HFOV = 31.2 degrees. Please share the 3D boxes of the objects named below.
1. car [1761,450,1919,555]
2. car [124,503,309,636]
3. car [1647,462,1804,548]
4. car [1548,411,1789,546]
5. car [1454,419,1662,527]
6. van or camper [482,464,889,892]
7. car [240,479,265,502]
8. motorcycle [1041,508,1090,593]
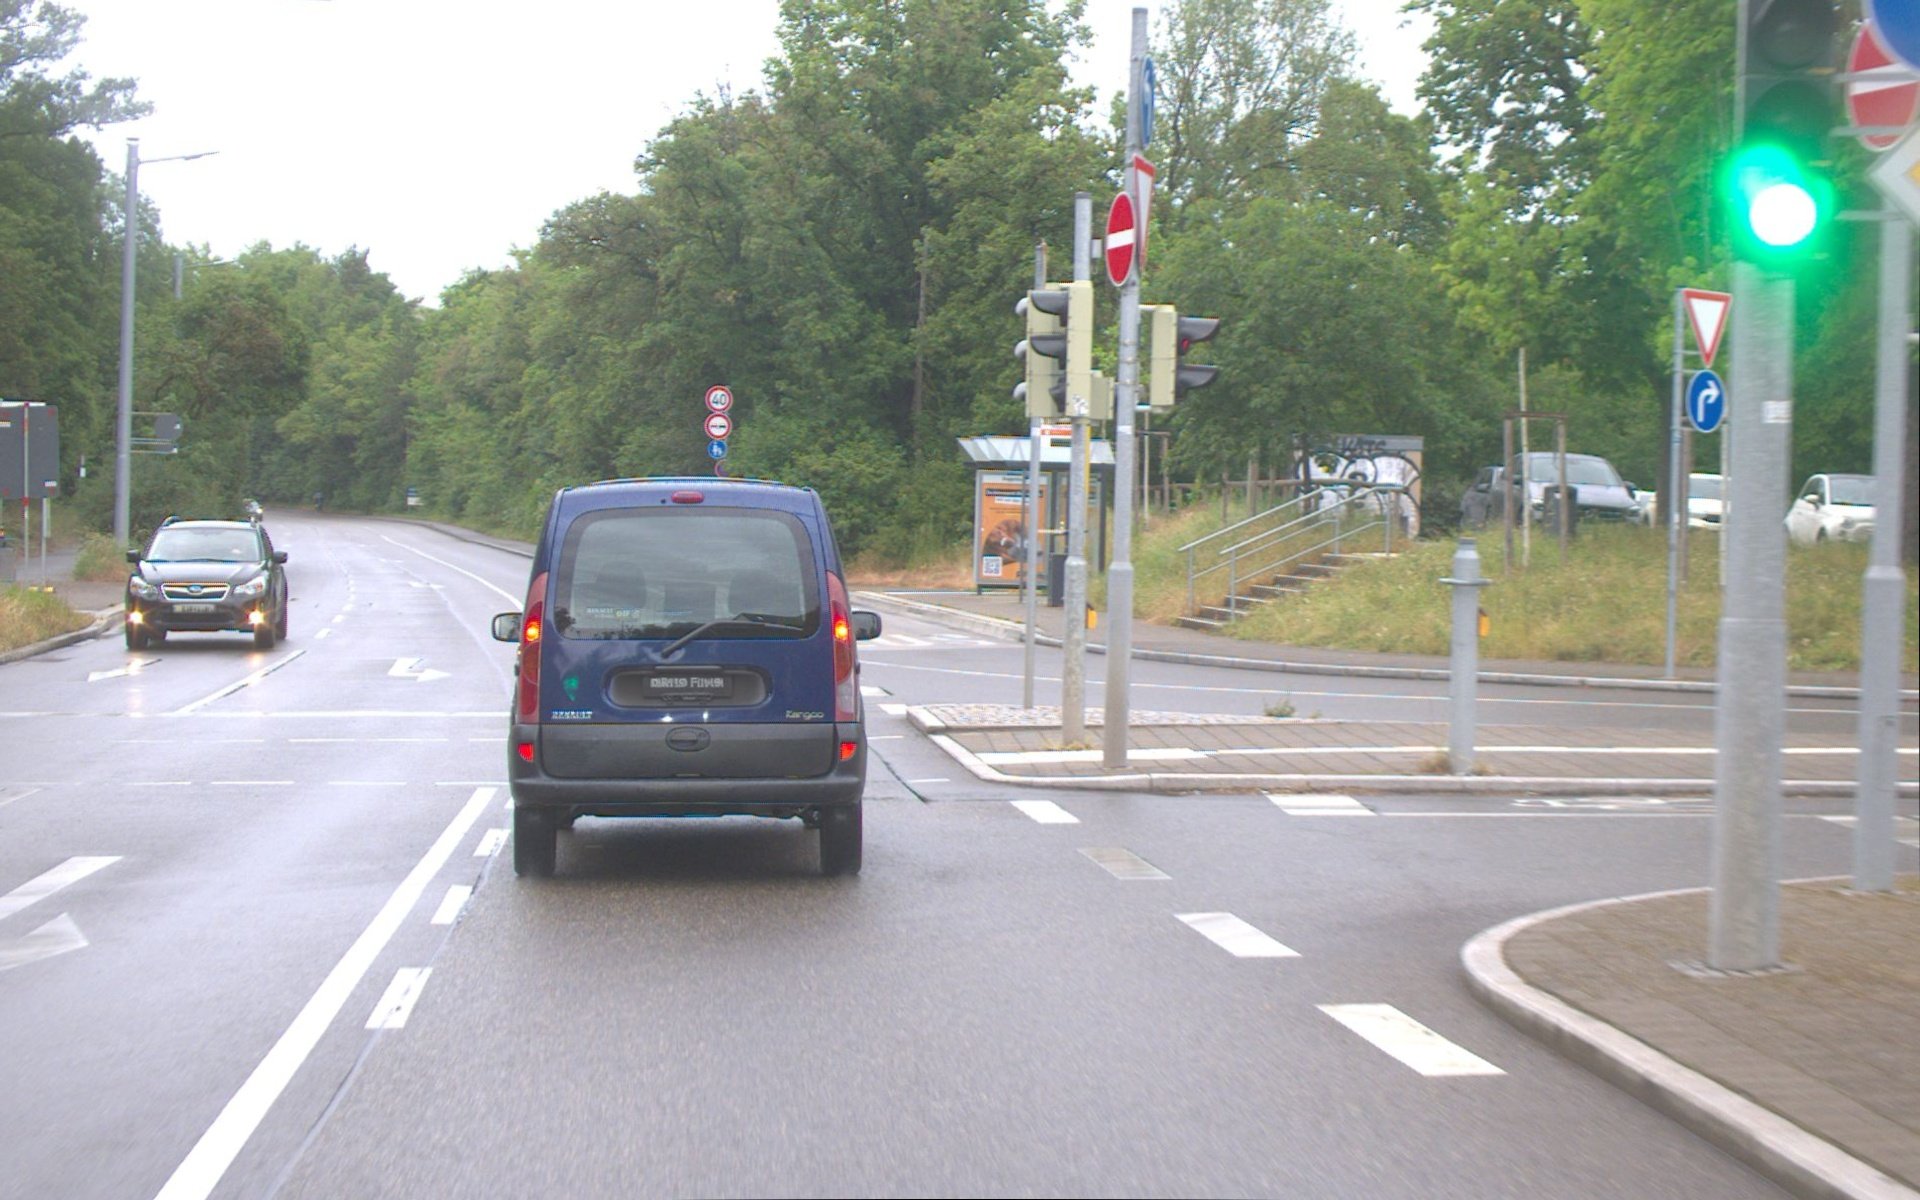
[{"bbox_3d":[14.184,-1.513,54.394,1.885,1.475,4.069,3,1,-2],"label":"car"},{"bbox_3d":[-9.322,-0.429,43.389,1.789,1.576,4.563,0,1,-6],"label":"car"},{"bbox_3d":[14.421,-1.768,64.997,1.885,1.475,4.069,3,1,-2],"label":"car"},{"bbox_3d":[9.799,-1.689,47.856,1.993,1.656,4.001,4,2,-7],"label":"car"},{"bbox_3d":[9.246,-1.948,53.524,1.993,1.475,4.285,3,1,-6],"label":"car"},{"bbox_3d":[-1.389,0.299,17.017,1.712,1.819,4.001,2,1,-6],"label":"van or camper"},{"bbox_3d":[-45.882,-7.103,222.995,1.598,1.436,3.992,-1,2,-12],"label":"car"},{"bbox_3d":[1.643,-0.779,53.319,0.589,1.284,1.537,1,1,7],"label":"motorcycle"}]
